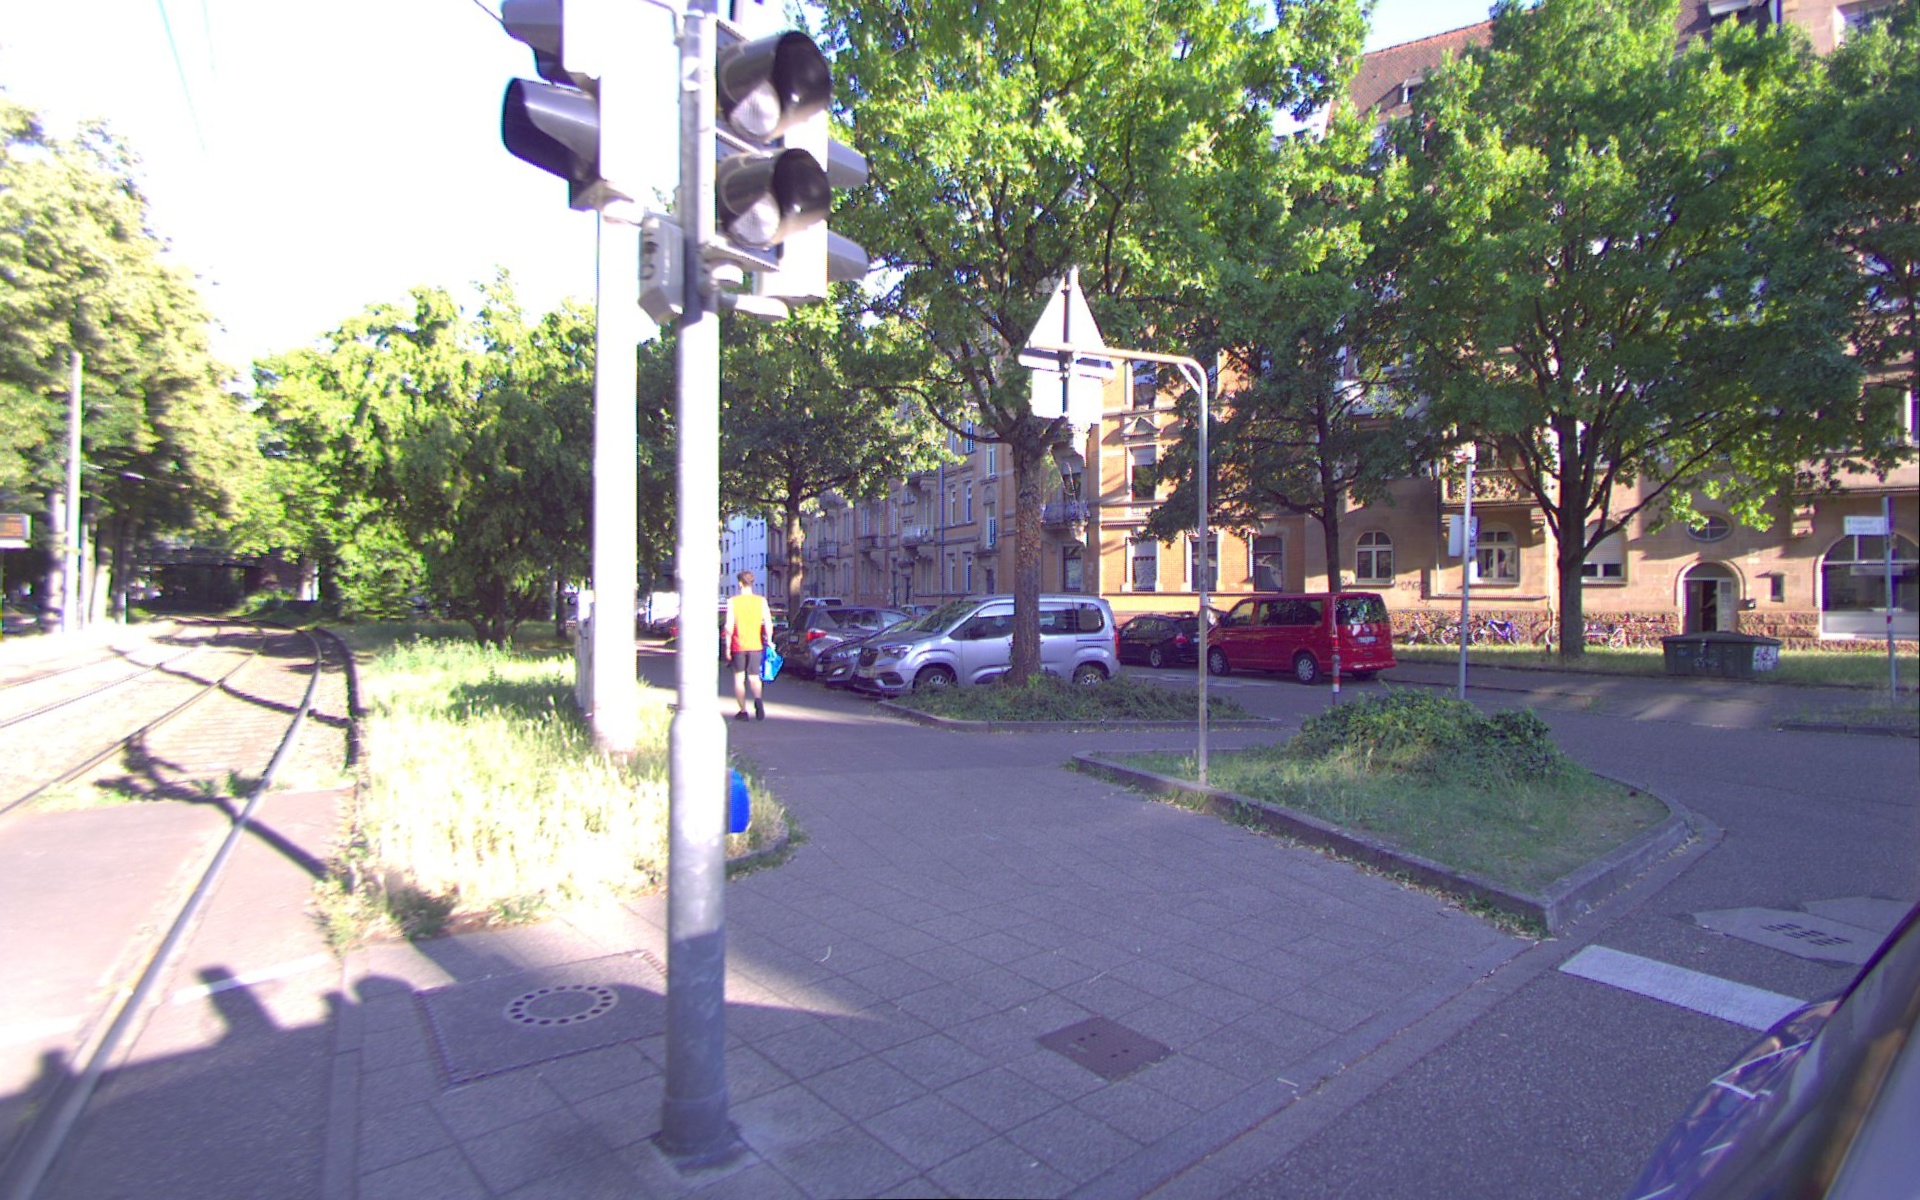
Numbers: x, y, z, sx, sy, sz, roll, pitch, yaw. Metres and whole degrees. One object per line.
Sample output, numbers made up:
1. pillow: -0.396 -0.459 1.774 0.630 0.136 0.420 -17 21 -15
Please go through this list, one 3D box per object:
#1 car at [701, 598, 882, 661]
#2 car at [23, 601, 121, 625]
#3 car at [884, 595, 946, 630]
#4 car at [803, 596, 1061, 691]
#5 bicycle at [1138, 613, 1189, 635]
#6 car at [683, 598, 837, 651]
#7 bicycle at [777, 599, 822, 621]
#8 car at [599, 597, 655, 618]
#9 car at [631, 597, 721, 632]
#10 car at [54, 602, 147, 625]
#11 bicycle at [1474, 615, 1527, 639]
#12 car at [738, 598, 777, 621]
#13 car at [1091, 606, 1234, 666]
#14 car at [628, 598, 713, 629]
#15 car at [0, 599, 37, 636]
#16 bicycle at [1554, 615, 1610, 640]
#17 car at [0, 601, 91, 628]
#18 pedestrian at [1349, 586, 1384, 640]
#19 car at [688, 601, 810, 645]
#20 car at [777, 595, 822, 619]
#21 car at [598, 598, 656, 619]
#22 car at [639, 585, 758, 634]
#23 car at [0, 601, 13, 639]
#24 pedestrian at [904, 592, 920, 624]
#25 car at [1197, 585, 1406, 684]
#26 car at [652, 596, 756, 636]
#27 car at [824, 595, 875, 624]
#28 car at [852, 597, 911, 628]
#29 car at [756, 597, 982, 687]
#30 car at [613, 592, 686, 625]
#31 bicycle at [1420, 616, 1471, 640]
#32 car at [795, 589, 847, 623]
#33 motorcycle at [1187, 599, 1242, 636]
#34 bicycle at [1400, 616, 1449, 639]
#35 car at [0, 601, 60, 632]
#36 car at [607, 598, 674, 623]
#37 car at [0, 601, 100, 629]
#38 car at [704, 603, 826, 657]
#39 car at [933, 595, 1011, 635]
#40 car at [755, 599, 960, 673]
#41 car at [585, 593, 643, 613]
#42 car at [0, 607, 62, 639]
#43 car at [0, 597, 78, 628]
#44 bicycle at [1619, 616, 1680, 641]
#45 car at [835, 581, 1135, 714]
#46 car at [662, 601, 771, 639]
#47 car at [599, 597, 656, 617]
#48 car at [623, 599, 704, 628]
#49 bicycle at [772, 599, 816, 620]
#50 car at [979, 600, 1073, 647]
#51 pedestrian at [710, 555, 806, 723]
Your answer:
1. car: -4.653 0.750 27.866 4.617 1.592 2.004 0 1 -21
2. car: -50.086 0.736 57.143 3.922 1.295 1.749 1 0 -2
3. car: -2.099 0.546 46.601 1.654 1.494 3.716 -2 1 -22
4. car: -0.544 0.744 19.007 4.458 1.592 1.954 0 1 -21
5. bicycle: 7.967 0.938 39.625 1.884 0.859 0.519 -1 -1 32
6. car: -6.482 0.737 32.796 4.617 1.592 2.004 0 1 -21
7. bicycle: -11.238 0.704 70.882 2.982 1.503 0.819 1 -1 -22
8. car: -25.954 0.582 78.888 4.047 1.541 1.687 1 0 -23
9. car: -13.544 0.693 48.288 3.916 1.573 1.687 1 0 -23
10. car: -50.497 0.765 59.504 3.922 1.295 1.749 1 0 -2
11. bicycle: 17.699 0.877 33.140 1.498 0.741 0.364 0 0 32
12. car: -14.462 0.656 72.016 1.843 1.555 4.400 -2 1 -23
13. car: 5.578 0.950 28.446 1.745 1.451 4.278 -2 1 -24
14. car: -14.482 0.675 50.603 3.916 1.507 1.687 1 0 -23
15. car: -36.705 0.616 37.189 3.922 1.295 1.749 1 0 -2
16. bicycle: 19.721 0.874 32.113 1.498 0.741 0.364 0 0 32
17. car: -47.262 0.747 51.823 3.922 1.295 1.749 1 0 -2
18. pedestrian: 13.350 0.418 33.213 0.906 1.739 0.667 -1 1 34
19. car: -7.351 0.791 35.251 3.916 1.479 1.687 1 0 -23
20. car: -10.586 0.454 66.603 1.843 1.459 4.400 -2 1 -23
21. car: -24.415 0.624 74.168 3.916 1.507 1.687 1 0 -23
22. car: -11.509 0.428 44.505 4.758 2.064 2.159 1 0 -23
23. car: -35.403 0.678 34.815 3.922 1.295 1.749 1 0 -2
24. pedestrian: -2.643 0.443 55.685 0.661 1.739 0.723 -2 1 -22
25. car: 7.633 0.692 23.195 1.745 1.958 4.781 -2 1 -23
26. car: -10.602 0.665 41.884 3.917 1.600 1.769 1 0 -25
27. car: -6.170 0.502 56.096 1.732 1.456 3.895 -2 1 -23
28. car: -4.035 0.600 51.496 1.732 1.401 4.298 -2 1 -22
29. car: -1.921 0.805 21.258 4.356 1.712 1.954 0 1 -21
30. car: -18.365 0.503 59.862 3.916 1.856 1.687 1 -1 -23
31. bicycle: 16.145 0.925 33.673 1.498 0.741 0.364 0 0 32
32. car: -8.473 0.324 61.251 1.874 1.906 4.734 -2 1 -23
33. motorcycle: 9.638 0.646 38.347 1.884 1.370 0.801 -1 -1 32
34. bicycle: 15.773 0.922 34.361 1.498 0.741 0.364 0 0 32
35. car: -42.595 0.718 44.782 3.922 1.295 1.749 1 0 -2
36. car: -20.495 0.673 64.892 3.916 1.507 1.687 1 0 -23
37. car: -44.685 0.708 49.357 3.922 1.295 1.749 1 0 -2
38. car: -5.817 0.856 30.153 3.338 1.533 1.722 0 0 -21
39. car: 0.430 0.577 41.013 1.654 1.494 3.888 -2 1 -25
40. car: -2.427 0.791 23.869 4.458 1.592 1.954 0 1 -21
41. car: -32.359 0.294 94.584 4.992 1.865 1.836 1 0 -23
42. car: -40.434 0.939 42.466 3.922 1.295 1.749 1 0 -2
43. car: -56.104 0.748 61.122 3.916 1.789 1.752 1 0 -16
44. bicycle: 21.145 0.875 31.075 1.498 0.741 0.364 -2 -1 32
45. car: 0.385 0.676 16.472 4.458 1.938 1.954 0 1 -21
46. car: -9.583 0.785 39.805 3.916 1.441 1.687 1 0 -23
47. car: -26.625 0.580 81.092 4.177 1.507 1.687 1 0 -23
48. car: -15.519 0.701 53.011 3.916 1.507 1.687 1 0 -23
49. bicycle: -11.910 0.694 72.501 2.982 1.503 0.819 1 -1 -22
50. car: 2.293 0.786 36.420 1.745 1.494 4.279 -2 1 -21
51. pedestrian: -2.491 0.460 12.390 0.886 1.943 1.152 2 -1 -22
